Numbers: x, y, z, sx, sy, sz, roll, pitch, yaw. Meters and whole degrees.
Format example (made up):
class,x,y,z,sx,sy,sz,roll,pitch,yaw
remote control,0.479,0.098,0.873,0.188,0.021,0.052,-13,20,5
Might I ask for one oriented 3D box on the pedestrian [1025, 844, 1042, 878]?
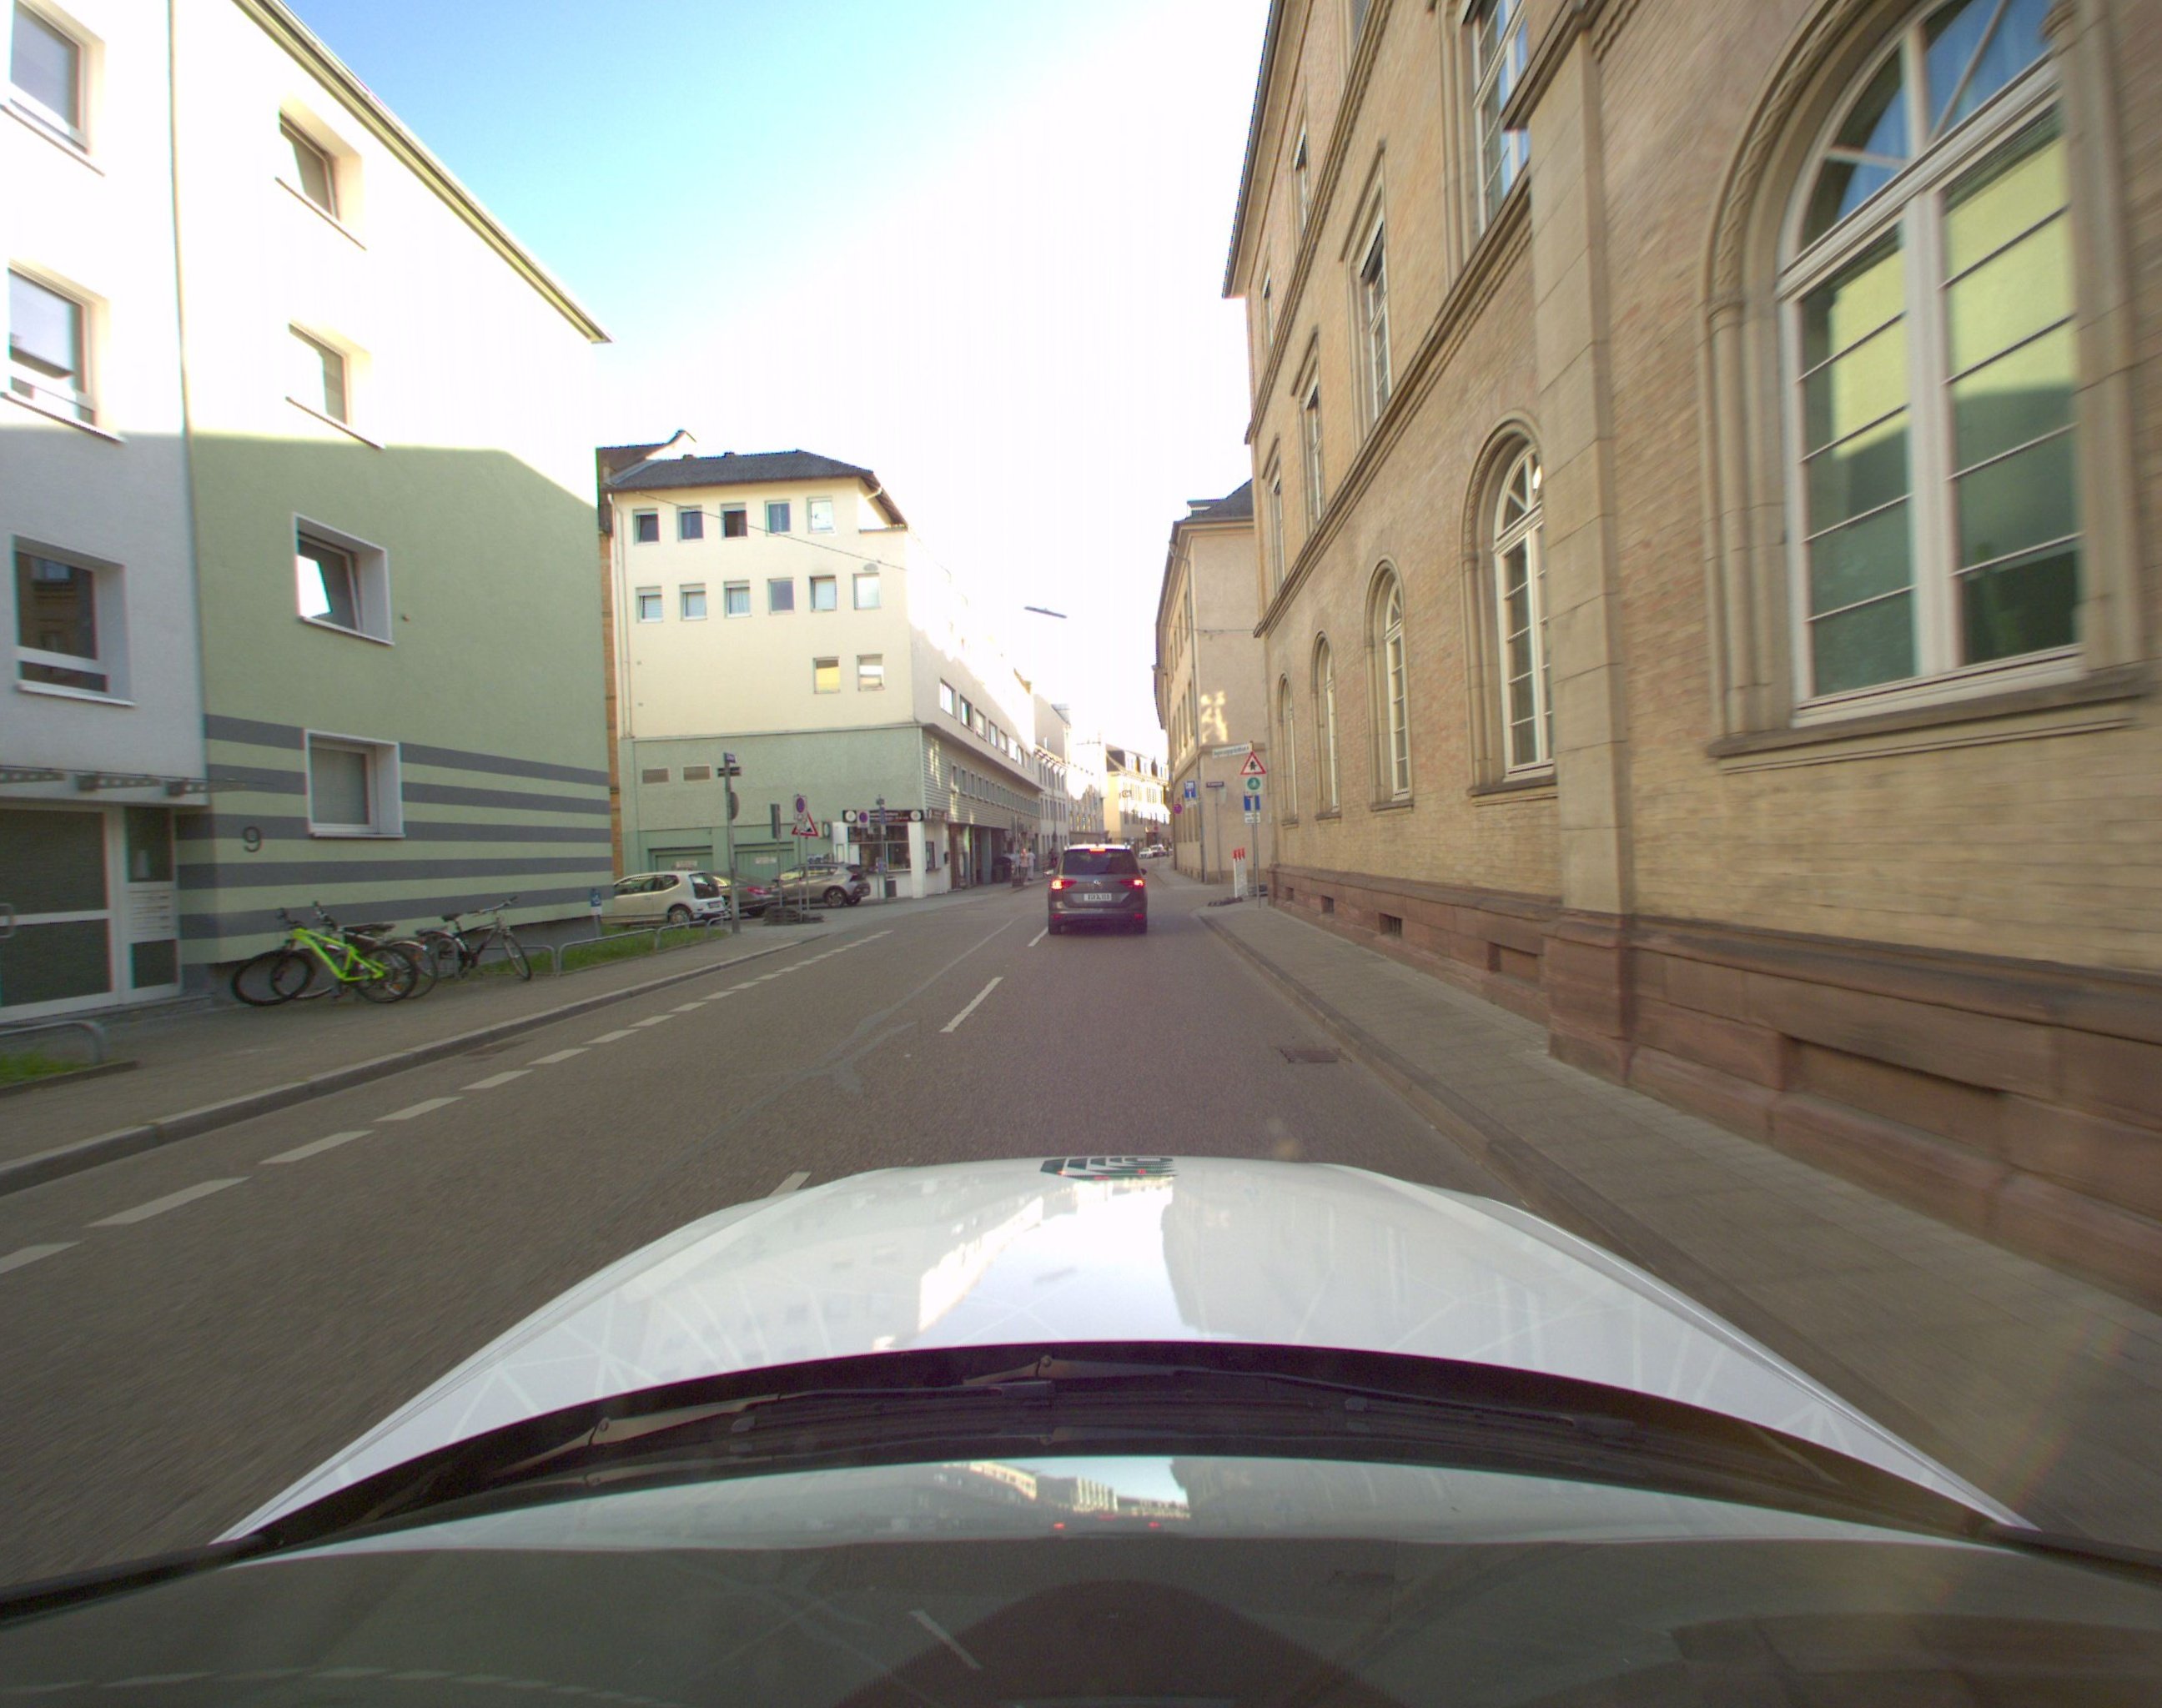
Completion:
class,x,y,z,sx,sy,sz,roll,pitch,yaw
pedestrian,-2.611,0.397,44.497,0.550,1.829,0.735,-2,0,25

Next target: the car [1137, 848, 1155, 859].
class,x,y,z,sx,sy,sz,roll,pitch,yaw
car,9.354,-0.124,116.900,1.720,1.468,4.017,-2,0,16

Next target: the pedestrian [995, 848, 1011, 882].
class,x,y,z,sx,sy,sz,roll,pitch,yaw
pedestrian,-4.254,0.575,44.657,0.725,1.829,0.557,-3,0,1

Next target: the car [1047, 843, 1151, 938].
class,x,y,z,sx,sy,sz,roll,pitch,yaw
car,0.281,0.604,15.757,1.757,1.607,3.999,0,0,-1

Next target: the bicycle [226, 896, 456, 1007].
class,x,y,z,sx,sy,sz,roll,pitch,yaw
bicycle,-8.649,1.115,9.600,1.931,1.179,0.610,0,0,-14

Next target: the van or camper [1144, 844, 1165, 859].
class,x,y,z,sx,sy,sz,roll,pitch,yaw
van or camper,11.088,-0.383,122.593,1.977,2.013,5.022,-2,1,18

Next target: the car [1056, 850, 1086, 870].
class,x,y,z,sx,sy,sz,roll,pitch,yaw
car,-0.740,0.457,64.948,1.856,1.468,3.841,-2,1,7

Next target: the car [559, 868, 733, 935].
class,x,y,z,sx,sy,sz,roll,pitch,yaw
car,-11.259,1.203,21.255,3.485,1.442,1.815,-3,1,3

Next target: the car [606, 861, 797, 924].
class,x,y,z,sx,sy,sz,roll,pitch,yaw
car,-11.028,1.084,23.882,4.592,1.541,2.003,-3,0,5

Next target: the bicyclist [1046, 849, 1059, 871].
class,x,y,z,sx,sy,sz,roll,pitch,yaw
bicyclist,-2.109,0.432,60.225,0.832,1.561,0.756,-2,0,-15

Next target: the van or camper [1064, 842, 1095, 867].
class,x,y,z,sx,sy,sz,roll,pitch,yaw
van or camper,-0.086,0.045,70.670,1.982,2.013,4.493,-3,0,8

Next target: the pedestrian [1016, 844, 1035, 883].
class,x,y,z,sx,sy,sz,roll,pitch,yaw
pedestrian,-2.615,0.450,38.455,0.550,1.829,0.735,-2,0,25

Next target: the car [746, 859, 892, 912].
class,x,y,z,sx,sy,sz,roll,pitch,yaw
car,-8.620,1.033,27.065,4.080,1.442,1.950,-3,1,3

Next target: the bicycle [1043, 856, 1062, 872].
class,x,y,z,sx,sy,sz,roll,pitch,yaw
bicycle,-2.152,0.730,60.443,0.832,1.054,2.537,-2,0,-14

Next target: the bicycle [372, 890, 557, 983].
class,x,y,z,sx,sy,sz,roll,pitch,yaw
bicycle,-8.326,1.093,11.064,1.927,1.179,0.612,0,0,-7
